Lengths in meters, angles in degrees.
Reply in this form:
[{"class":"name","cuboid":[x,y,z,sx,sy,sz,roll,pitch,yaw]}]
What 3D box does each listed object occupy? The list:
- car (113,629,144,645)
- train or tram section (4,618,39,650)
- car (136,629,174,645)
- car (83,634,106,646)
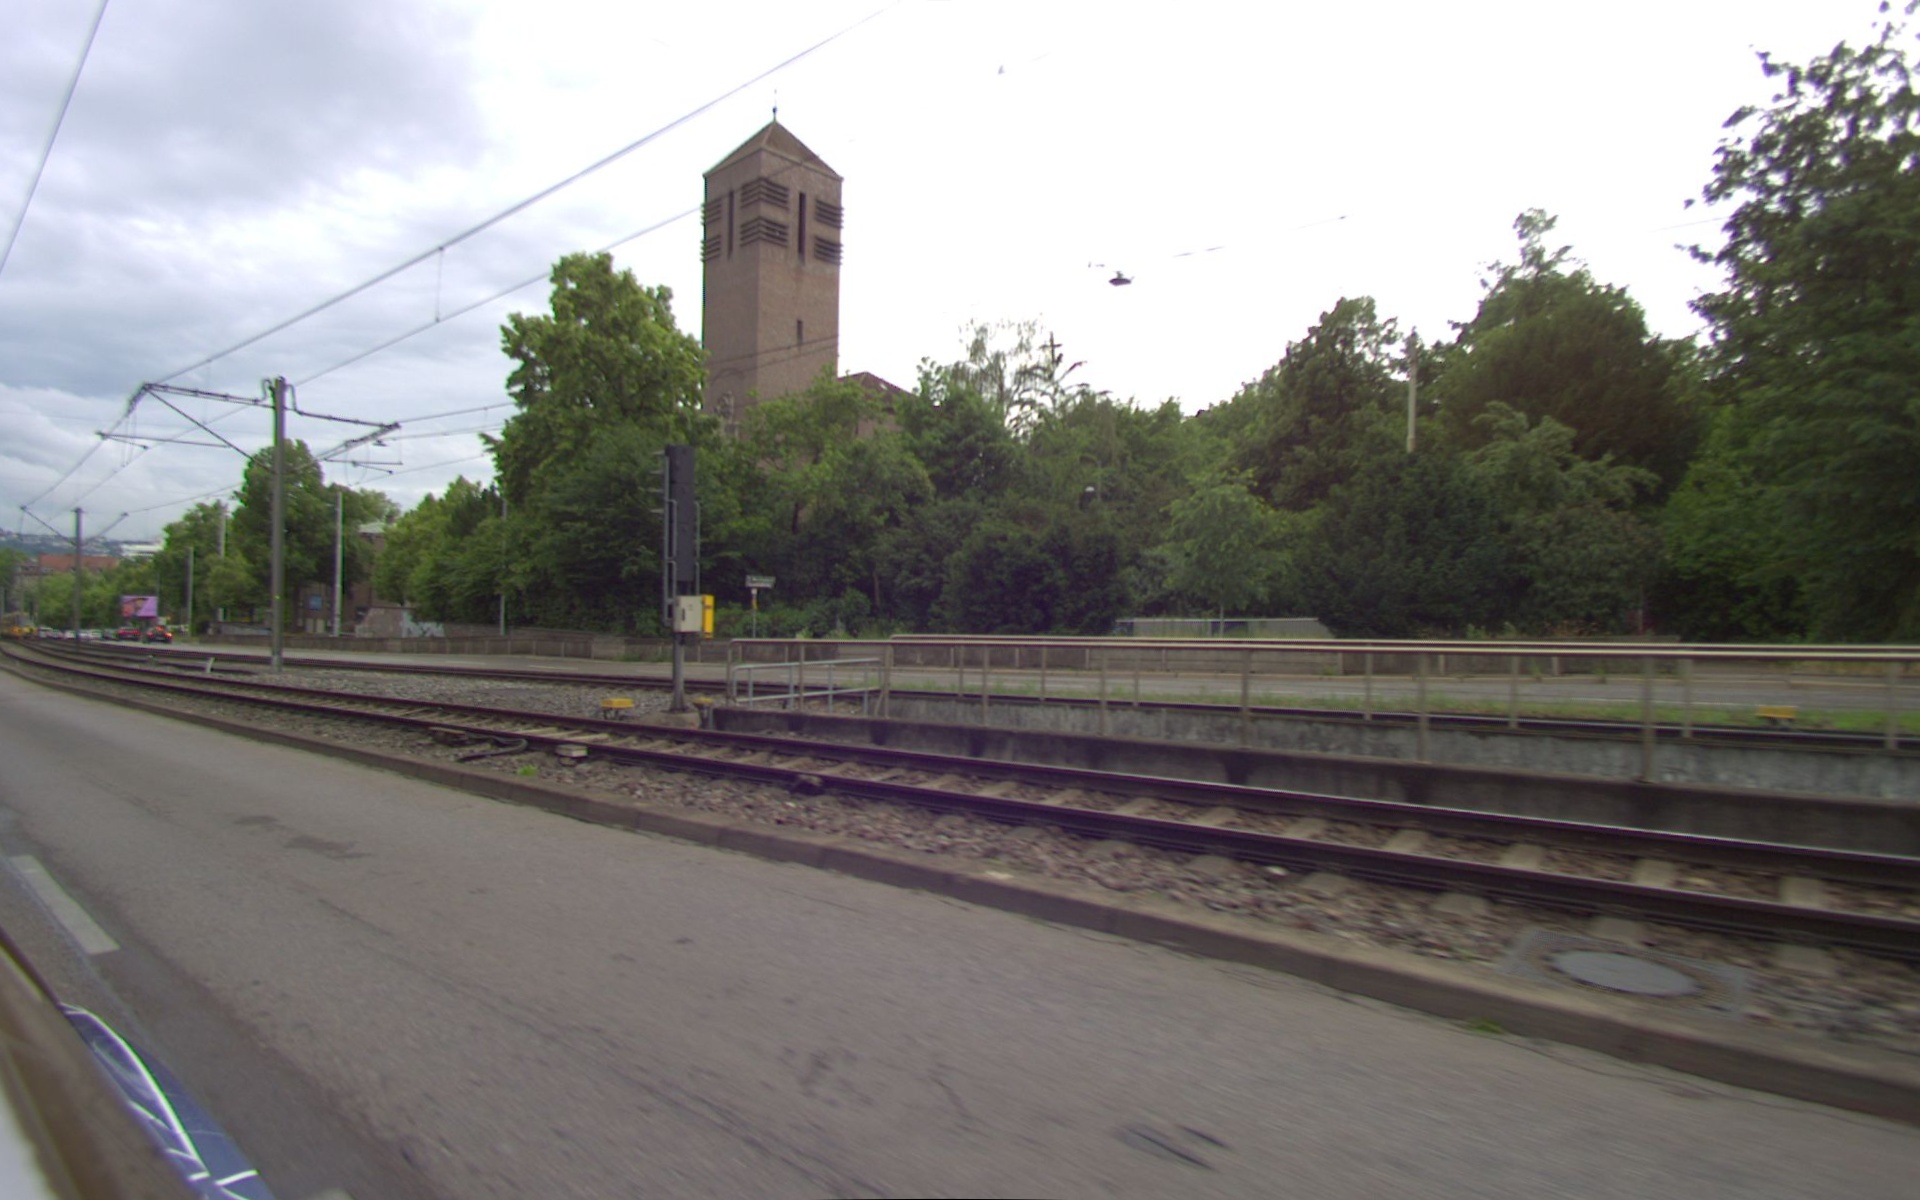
[{"class":"car","cuboid":[-90.220,4.005,109.790,4.525,1.656,1.971,-3,-4,43]},{"class":"train or tram section","cuboid":[-128.433,4.722,138.426,2.796,4.006,17.884,1,-3,-45]},{"class":"car","cuboid":[-72.220,3.326,90.792,4.321,1.452,1.944,-2,-3,42]},{"class":"car","cuboid":[-114.149,5.237,133.465,3.985,1.479,1.727,-3,-5,43]}]
